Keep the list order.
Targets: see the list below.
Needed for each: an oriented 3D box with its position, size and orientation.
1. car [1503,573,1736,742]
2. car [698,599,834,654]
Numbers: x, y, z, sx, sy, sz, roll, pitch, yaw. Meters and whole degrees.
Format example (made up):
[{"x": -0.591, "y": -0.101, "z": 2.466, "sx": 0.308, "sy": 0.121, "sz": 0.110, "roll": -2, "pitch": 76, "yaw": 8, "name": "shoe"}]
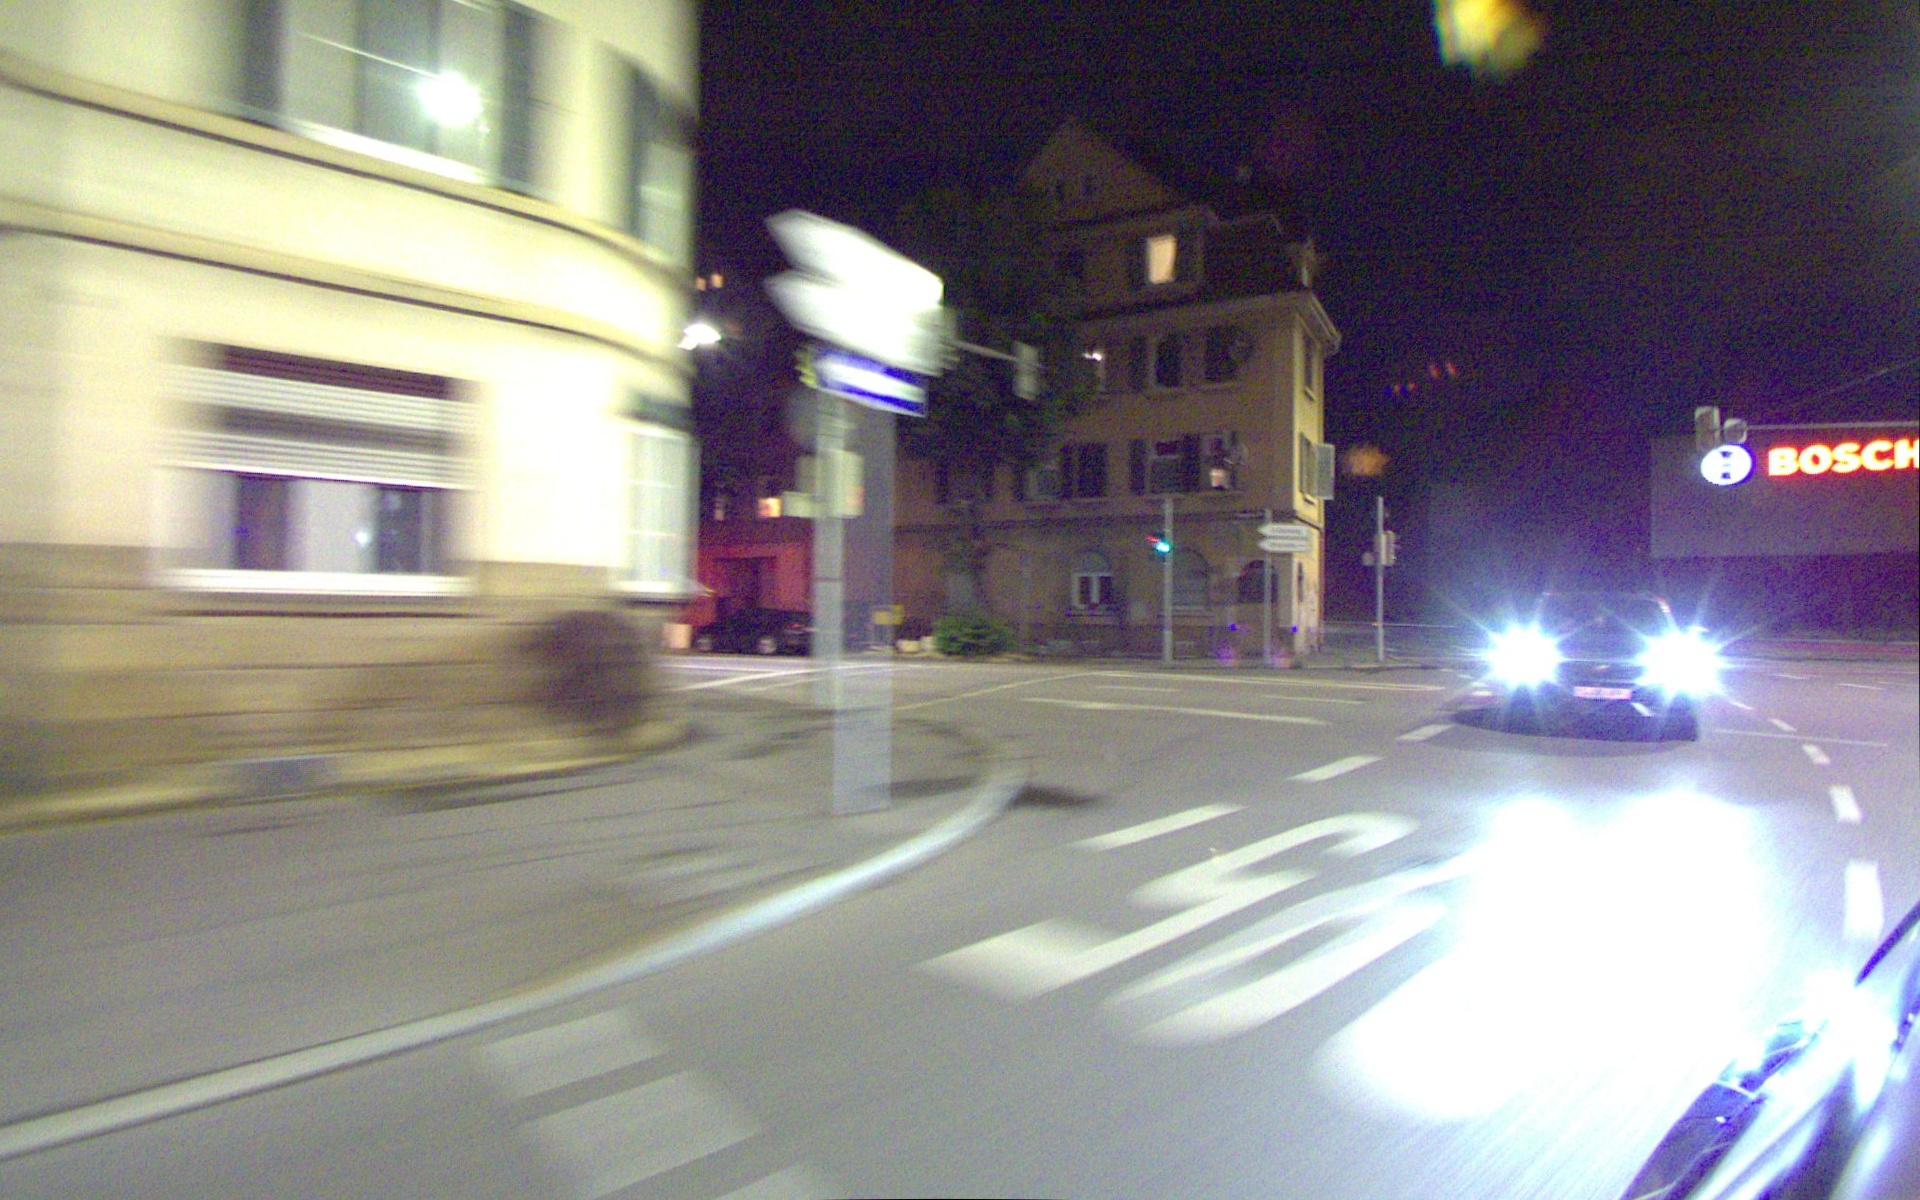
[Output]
[{"x": 7.677, "y": 0.555, "z": 12.042, "sx": 1.984, "sy": 1.636, "sz": 3.956, "roll": 0, "pitch": 0, "yaw": 31, "name": "car"}, {"x": -6.105, "y": 0.806, "z": 31.790, "sx": 3.970, "sy": 1.609, "sz": 1.977, "roll": -1, "pitch": -1, "yaw": 33, "name": "car"}]
